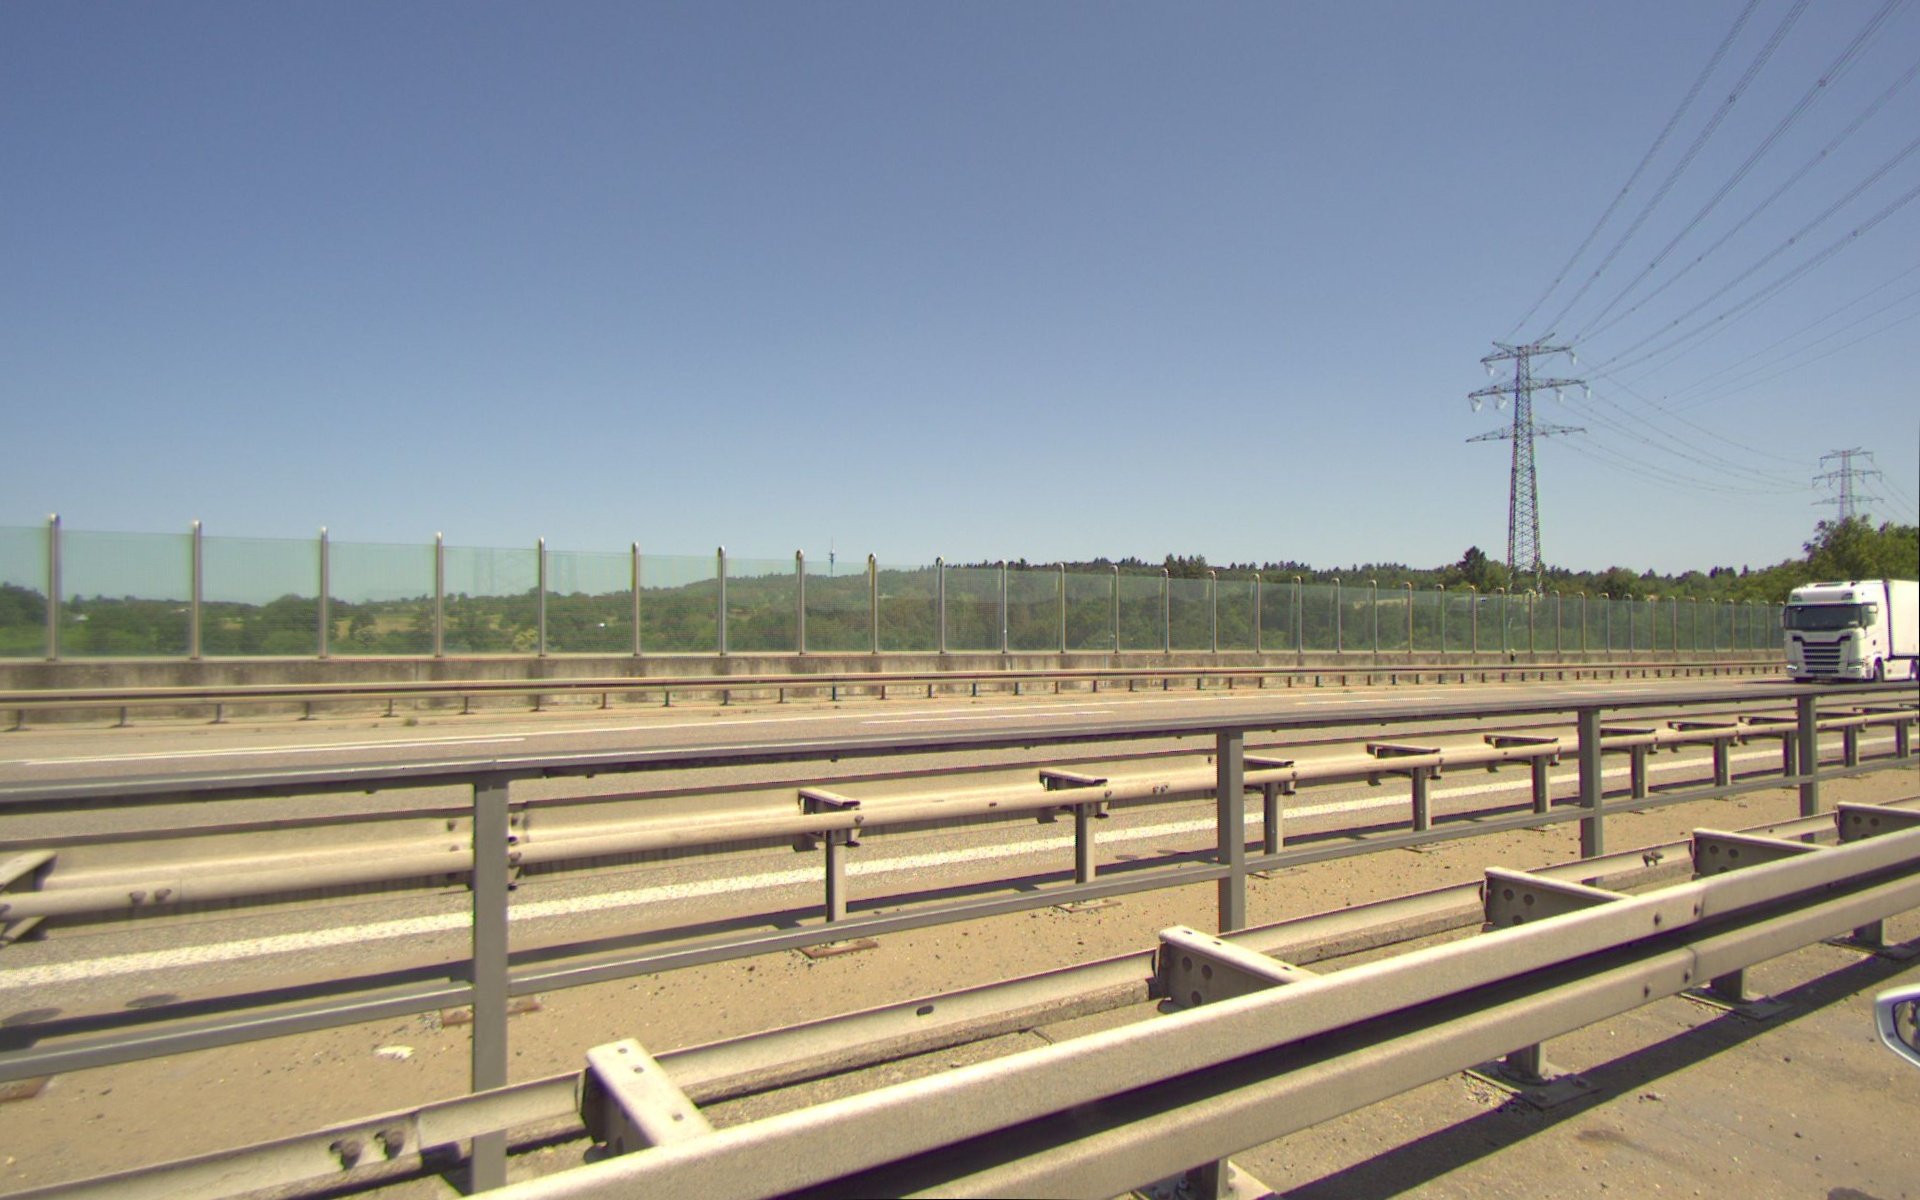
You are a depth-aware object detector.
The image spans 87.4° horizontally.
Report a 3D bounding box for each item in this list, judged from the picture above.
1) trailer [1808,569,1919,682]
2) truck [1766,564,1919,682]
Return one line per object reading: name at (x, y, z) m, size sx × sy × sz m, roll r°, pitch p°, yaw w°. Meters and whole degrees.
trailer at (41.407, 1.238, 43.379) m, size 13.500 × 4.363 × 2.893 m, roll 2°, pitch -3°, yaw -30°
truck at (35.457, 1.028, 39.929) m, size 6.776 × 4.349 × 2.917 m, roll 2°, pitch -4°, yaw -30°
